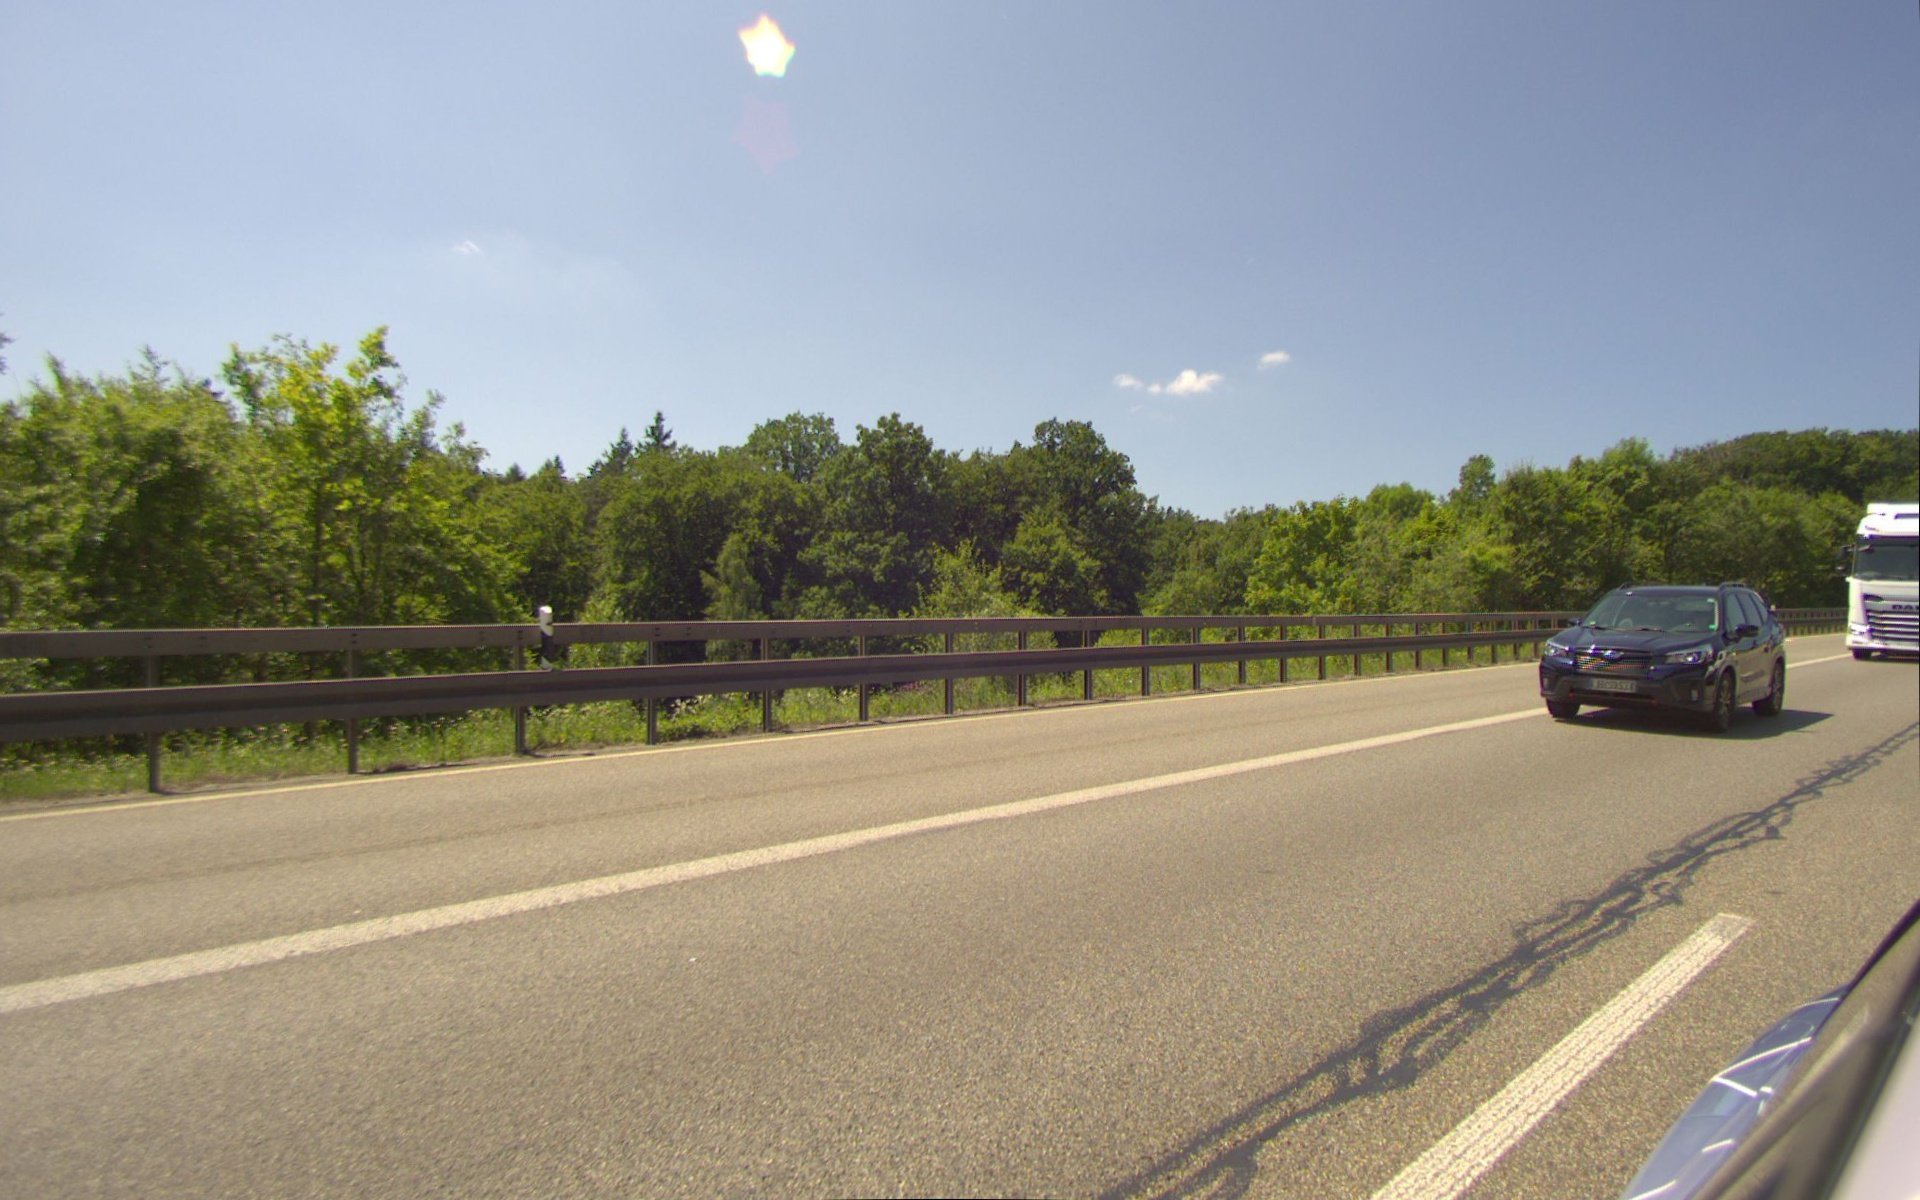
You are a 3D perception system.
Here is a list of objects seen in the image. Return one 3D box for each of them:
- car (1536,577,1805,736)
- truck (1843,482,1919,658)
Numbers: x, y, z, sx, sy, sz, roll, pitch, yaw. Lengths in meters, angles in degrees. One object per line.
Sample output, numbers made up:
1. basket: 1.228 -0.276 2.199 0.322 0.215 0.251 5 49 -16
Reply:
1. car: 9.025 0.570 12.736 4.129 1.688 1.815 0 1 -41
2. truck: 29.241 -0.786 29.413 15.977 4.220 2.789 -1 2 -40
